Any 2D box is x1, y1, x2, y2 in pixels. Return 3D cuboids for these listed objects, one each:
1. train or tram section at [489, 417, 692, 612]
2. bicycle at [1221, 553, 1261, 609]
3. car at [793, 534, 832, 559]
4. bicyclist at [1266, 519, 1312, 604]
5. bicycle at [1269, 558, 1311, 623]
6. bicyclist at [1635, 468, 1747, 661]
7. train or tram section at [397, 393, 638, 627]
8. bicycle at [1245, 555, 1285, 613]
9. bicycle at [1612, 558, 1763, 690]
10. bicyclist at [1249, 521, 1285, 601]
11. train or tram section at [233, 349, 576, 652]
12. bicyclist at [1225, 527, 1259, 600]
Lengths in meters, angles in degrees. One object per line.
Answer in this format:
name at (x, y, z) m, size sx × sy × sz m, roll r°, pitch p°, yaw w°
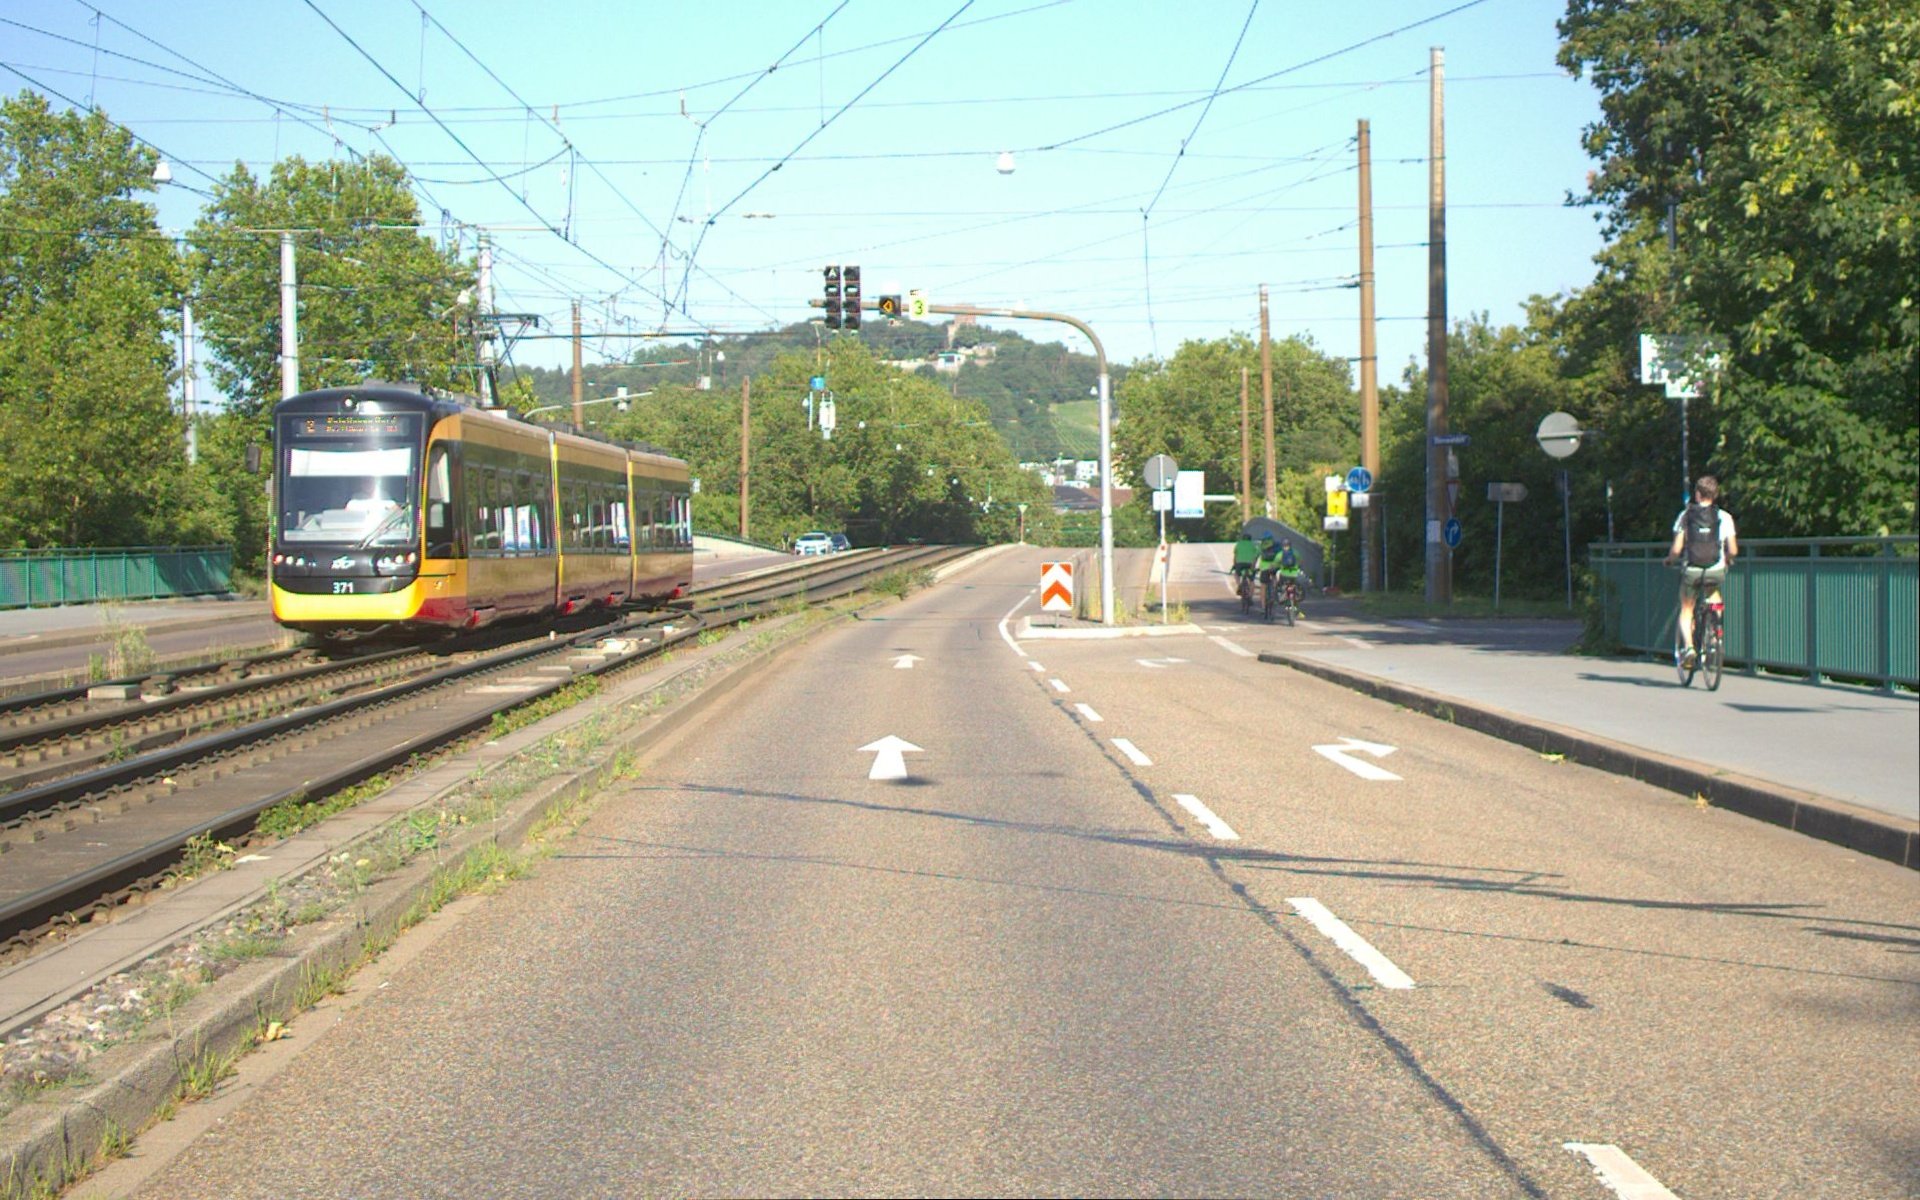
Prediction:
train or tram section at (-7.927, -1.835, 75.513) m, size 2.978 × 3.887 × 12.702 m, roll 0°, pitch 1°, yaw 0°
bicycle at (5.872, -0.404, 71.919) m, size 0.625 × 1.118 × 2.260 m, roll 0°, pitch 1°, yaw -1°
car at (-8.216, -3.003, 192.152) m, size 1.684 × 1.351 × 4.920 m, roll 0°, pitch 1°, yaw 3°
bicyclist at (6.102, -0.721, 63.718) m, size 0.812 × 1.557 × 0.896 m, roll 0°, pitch 2°, yaw 3°
bicycle at (6.114, -0.189, 63.755) m, size 0.683 × 1.118 × 2.216 m, roll 0°, pitch 2°, yaw 3°
bicyclist at (6.525, -0.320, 30.728) m, size 0.731 × 1.684 × 1.202 m, roll 0°, pitch 1°, yaw -1°
train or tram section at (-7.944, -1.615, 63.347) m, size 2.976 × 3.887 × 11.665 m, roll 0°, pitch 1°, yaw 0°
bicycle at (6.094, -0.328, 68.717) m, size 0.625 × 1.118 × 2.042 m, roll 0°, pitch 1°, yaw 0°
bicycle at (6.510, 0.189, 30.898) m, size 0.731 × 1.118 × 2.742 m, roll 0°, pitch 1°, yaw -1°
bicyclist at (6.131, -0.783, 68.668) m, size 0.625 × 1.587 × 0.931 m, roll 0°, pitch 1°, yaw 0°
train or tram section at (-7.911, -1.402, 50.979) m, size 3.004 × 3.887 × 13.082 m, roll 0°, pitch 1°, yaw 0°
bicyclist at (5.877, -0.773, 71.708) m, size 0.625 × 1.503 × 1.006 m, roll 0°, pitch 1°, yaw -1°
